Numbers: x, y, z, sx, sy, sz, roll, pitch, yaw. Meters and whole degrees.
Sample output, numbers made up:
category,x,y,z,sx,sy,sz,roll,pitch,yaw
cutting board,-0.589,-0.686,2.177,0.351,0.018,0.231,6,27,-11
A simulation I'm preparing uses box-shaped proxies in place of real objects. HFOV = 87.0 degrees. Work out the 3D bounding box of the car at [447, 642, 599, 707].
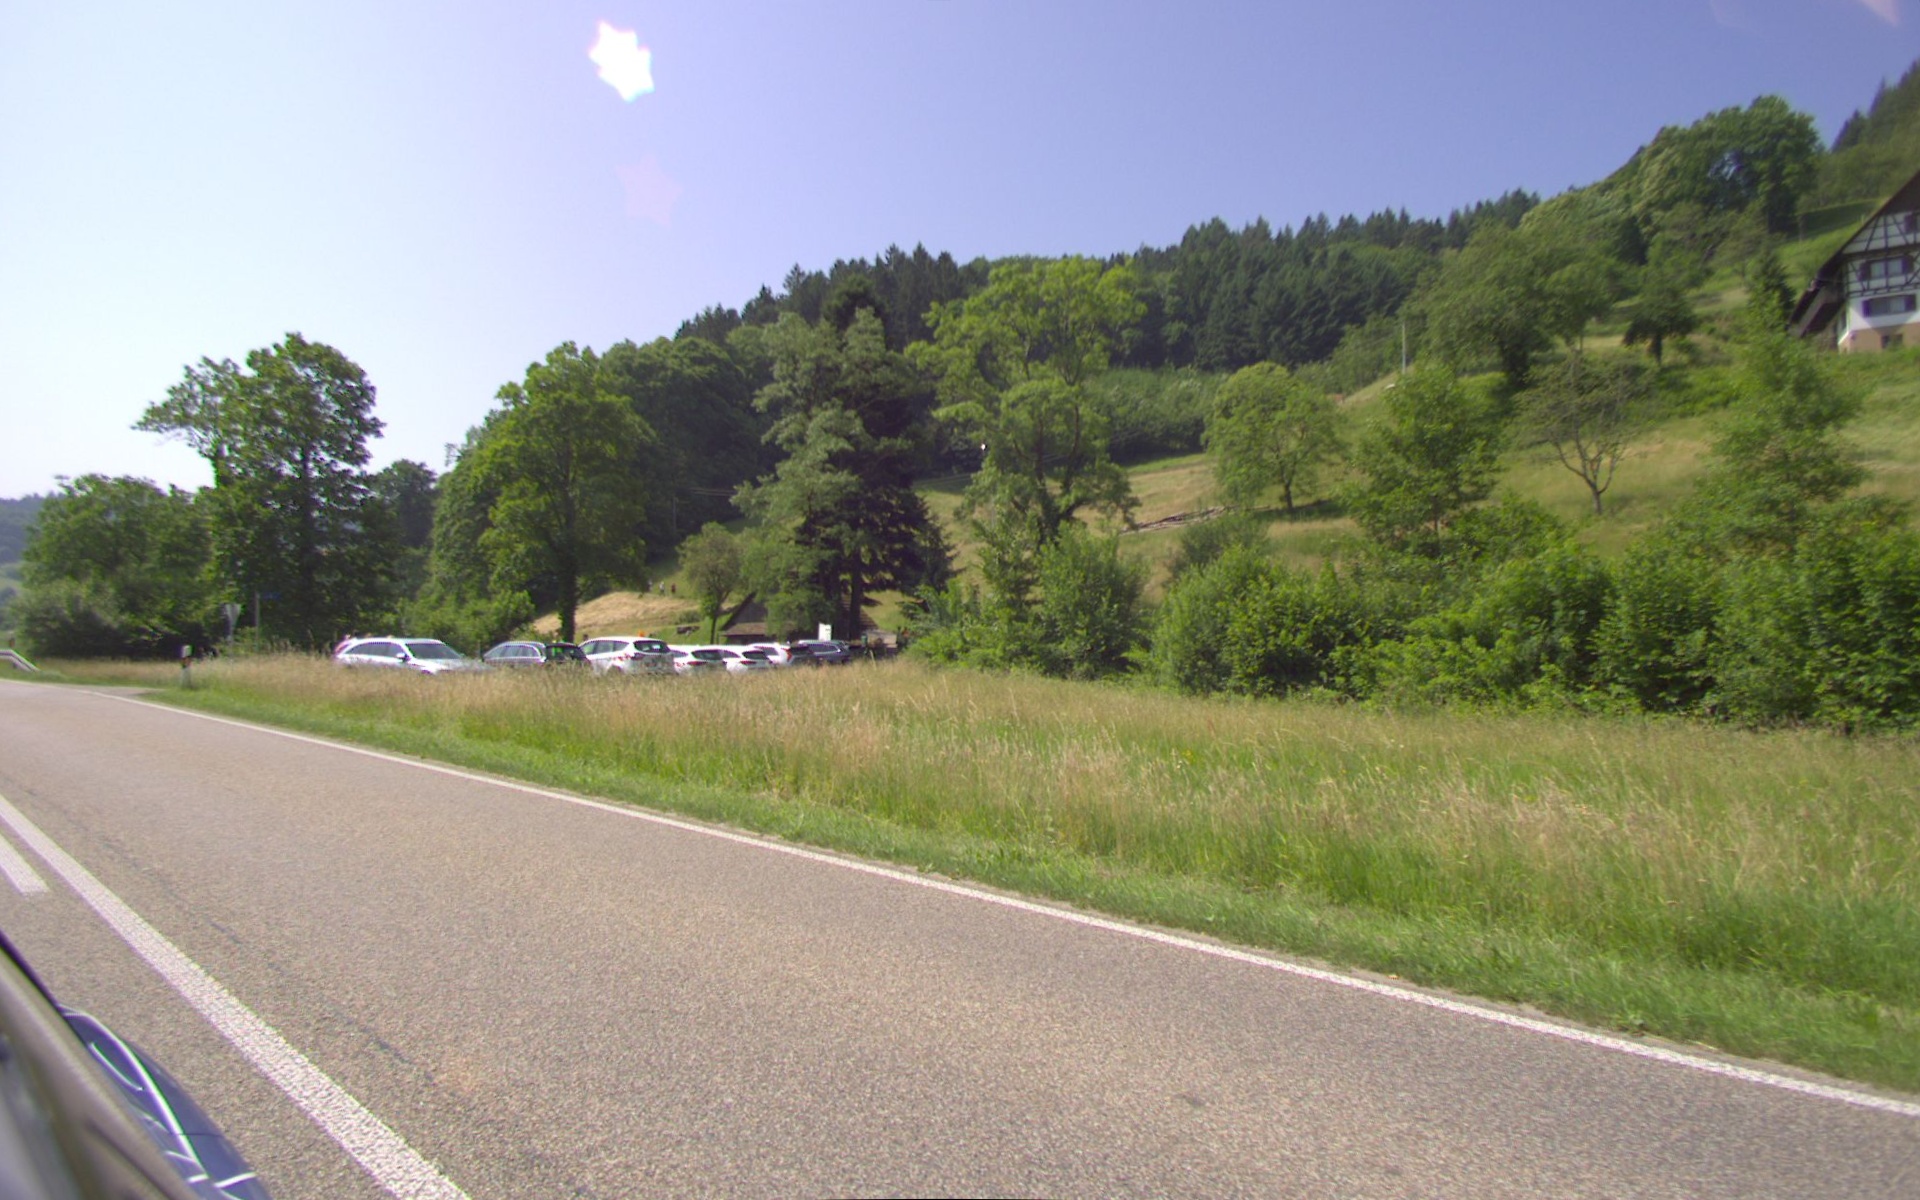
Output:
category,x,y,z,sx,sy,sz,roll,pitch,yaw
car,-12.387,2.061,28.580,4.615,1.664,1.974,-1,-4,39

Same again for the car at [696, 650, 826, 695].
category,x,y,z,sx,sy,sz,roll,pitch,yaw
car,-7.383,2.648,37.577,4.500,1.512,1.981,-1,-3,28

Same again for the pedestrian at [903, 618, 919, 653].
category,x,y,z,sx,sy,sz,roll,pitch,yaw
pedestrian,-2.889,2.087,59.491,0.689,2.029,0.935,2,-4,-18

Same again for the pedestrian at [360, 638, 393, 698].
category,x,y,z,sx,sy,sz,roll,pitch,yaw
pedestrian,-17.842,2.077,30.936,0.758,1.810,0.796,4,-5,-34

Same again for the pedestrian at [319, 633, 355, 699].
category,x,y,z,sx,sy,sz,roll,pitch,yaw
pedestrian,-18.680,1.979,30.345,0.529,1.970,0.658,-1,-4,20

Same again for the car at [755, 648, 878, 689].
category,x,y,z,sx,sy,sz,roll,pitch,yaw
car,-5.698,2.690,40.062,4.500,1.512,1.981,-1,-4,28

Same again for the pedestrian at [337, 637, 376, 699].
category,x,y,z,sx,sy,sz,roll,pitch,yaw
pedestrian,-18.656,2.104,31.300,0.698,1.857,0.780,-3,-5,40

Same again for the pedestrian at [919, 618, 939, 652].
category,x,y,z,sx,sy,sz,roll,pitch,yaw
pedestrian,-1.868,2.086,60.499,0.927,2.029,0.695,-1,-4,25

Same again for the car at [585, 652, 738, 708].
category,x,y,z,sx,sy,sz,roll,pitch,yaw
car,-9.812,2.554,33.174,4.882,1.654,1.980,-1,-3,30

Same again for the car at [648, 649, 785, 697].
category,x,y,z,sx,sy,sz,roll,pitch,yaw
car,-8.554,2.510,35.534,4.500,1.512,1.981,-1,-3,28

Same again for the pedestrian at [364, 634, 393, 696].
category,x,y,z,sx,sy,sz,roll,pitch,yaw
pedestrian,-17.495,1.956,30.453,0.638,1.854,0.773,3,-4,-27

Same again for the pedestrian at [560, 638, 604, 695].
category,x,y,z,sx,sy,sz,roll,pitch,yaw
pedestrian,-13.430,2.360,35.988,0.861,1.984,1.114,-2,-5,39

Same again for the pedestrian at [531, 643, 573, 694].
category,x,y,z,sx,sy,sz,roll,pitch,yaw
pedestrian,-14.736,2.455,36.545,0.995,1.808,0.948,-1,-5,27

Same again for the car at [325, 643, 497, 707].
category,x,y,z,sx,sy,sz,roll,pitch,yaw
car,-14.106,1.960,25.970,4.258,1.512,1.814,-3,-7,29

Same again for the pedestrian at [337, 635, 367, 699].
category,x,y,z,sx,sy,sz,roll,pitch,yaw
pedestrian,-18.090,1.984,30.120,0.638,1.873,0.773,3,-4,-27

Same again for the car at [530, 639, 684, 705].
category,x,y,z,sx,sy,sz,roll,pitch,yaw
car,-10.664,2.106,30.489,4.758,1.796,1.856,-1,-3,33
